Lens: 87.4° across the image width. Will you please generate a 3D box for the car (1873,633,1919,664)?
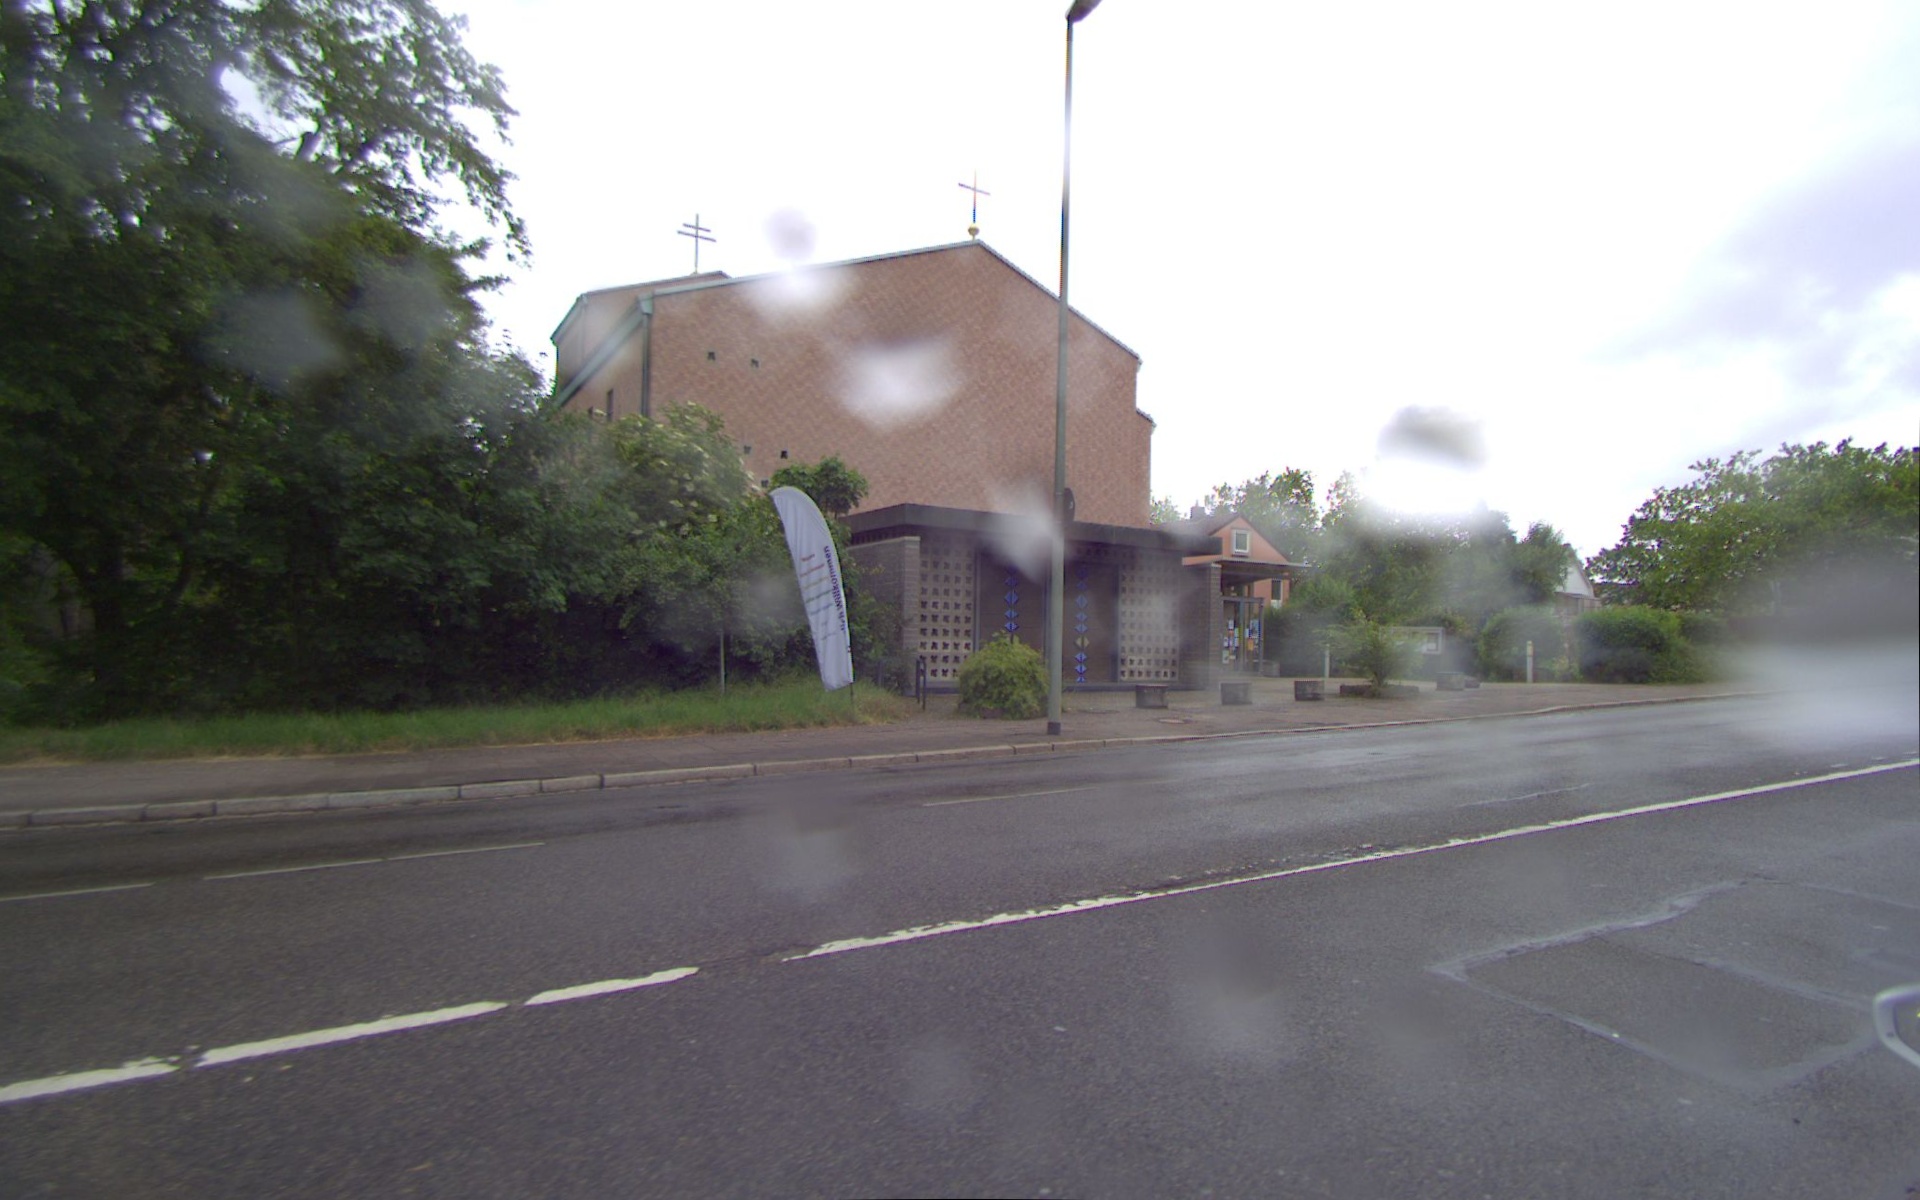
[{"bbox_3d":[50.466,2.570,53.835,1.969,1.572,3.983,-1,-2,39],"label":"car"}]
